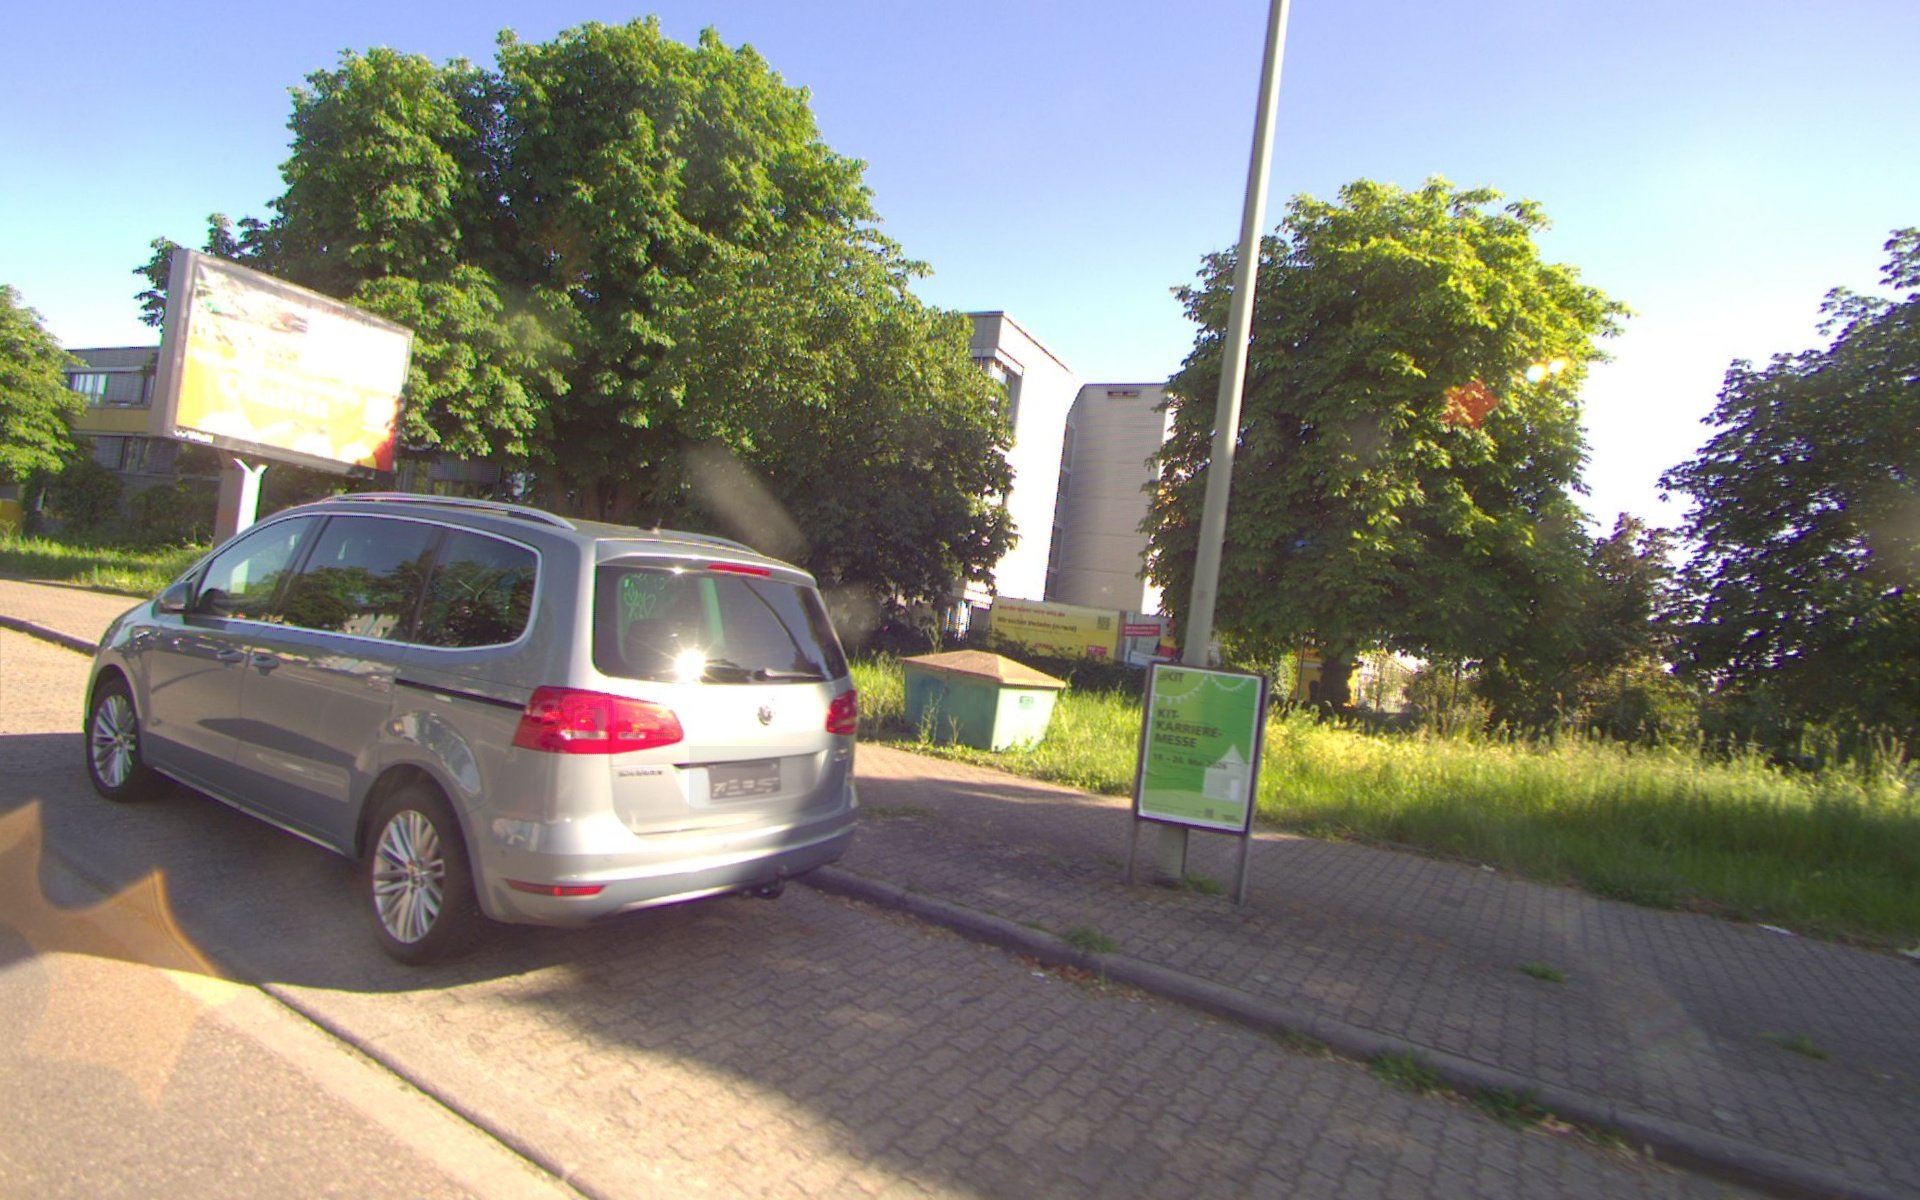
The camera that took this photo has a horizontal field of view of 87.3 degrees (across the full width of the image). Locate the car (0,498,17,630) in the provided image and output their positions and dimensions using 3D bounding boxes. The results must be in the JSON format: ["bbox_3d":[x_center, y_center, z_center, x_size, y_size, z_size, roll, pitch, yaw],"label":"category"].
[{"bbox_3d":[-12.821,-0.698,11.400,4.349,1.436,1.813,7,-1,30],"label":"car"}]

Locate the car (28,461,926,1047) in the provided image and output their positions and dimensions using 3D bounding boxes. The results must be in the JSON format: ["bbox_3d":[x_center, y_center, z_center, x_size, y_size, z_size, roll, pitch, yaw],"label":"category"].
[{"bbox_3d":[-2.646,0.377,5.120,4.536,1.743,1.875,6,0,32],"label":"car"}]
